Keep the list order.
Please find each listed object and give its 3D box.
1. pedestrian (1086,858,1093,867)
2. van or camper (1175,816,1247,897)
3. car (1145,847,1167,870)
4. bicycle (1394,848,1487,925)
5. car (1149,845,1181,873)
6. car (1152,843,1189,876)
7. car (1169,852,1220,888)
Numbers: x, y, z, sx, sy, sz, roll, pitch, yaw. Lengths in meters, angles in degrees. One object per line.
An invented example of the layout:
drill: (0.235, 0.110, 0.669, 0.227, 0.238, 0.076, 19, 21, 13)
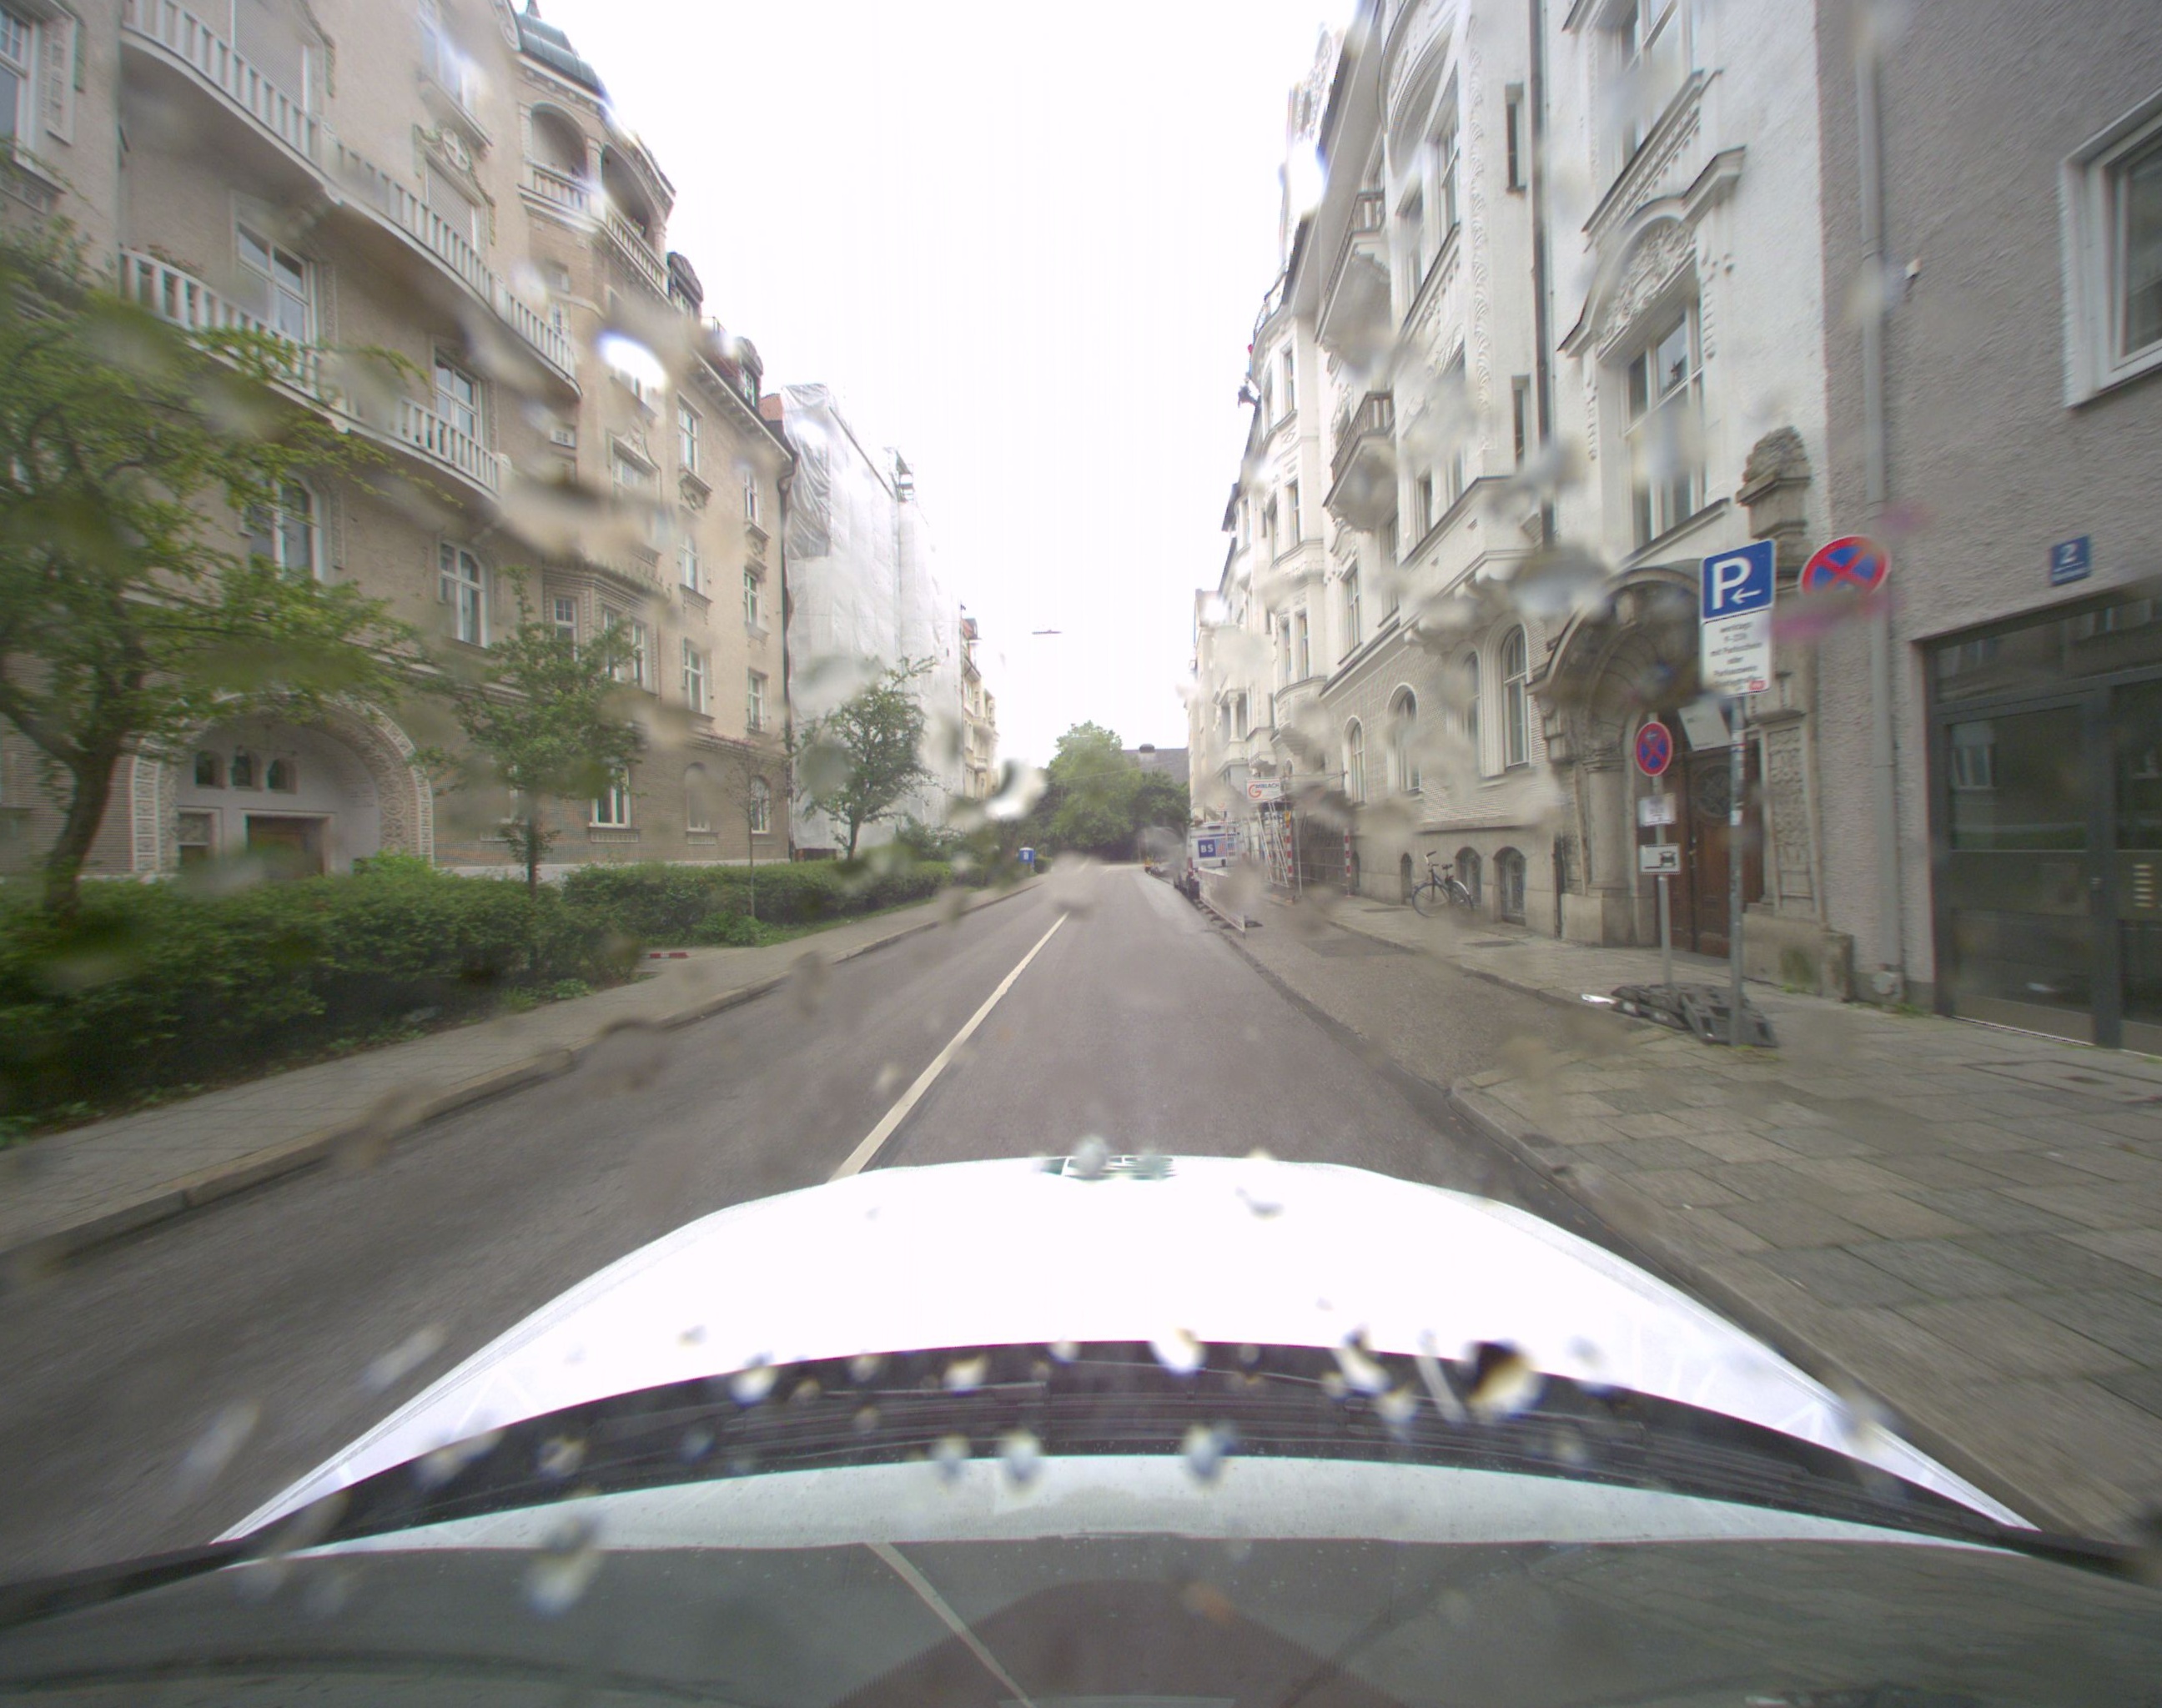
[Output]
pedestrian: (1.136, 1.155, 113.421, 0.807, 1.189, 0.922, -2, 0, 9)
van or camper: (4.668, 0.091, 30.034, 1.945, 2.637, 5.463, -2, 0, 3)
car: (6.683, 0.382, 72.064, 1.841, 1.853, 4.828, -2, 0, 6)
bicycle: (6.301, 0.544, 14.399, 0.658, 1.206, 1.921, -6, 0, -1)
car: (6.212, 0.344, 60.800, 1.952, 1.937, 4.994, -3, 0, 1)
car: (5.978, 0.337, 54.630, 1.952, 2.013, 4.994, -3, 0, 1)
car: (4.972, 0.667, 35.987, 1.747, 1.434, 4.089, -3, 0, 2)
